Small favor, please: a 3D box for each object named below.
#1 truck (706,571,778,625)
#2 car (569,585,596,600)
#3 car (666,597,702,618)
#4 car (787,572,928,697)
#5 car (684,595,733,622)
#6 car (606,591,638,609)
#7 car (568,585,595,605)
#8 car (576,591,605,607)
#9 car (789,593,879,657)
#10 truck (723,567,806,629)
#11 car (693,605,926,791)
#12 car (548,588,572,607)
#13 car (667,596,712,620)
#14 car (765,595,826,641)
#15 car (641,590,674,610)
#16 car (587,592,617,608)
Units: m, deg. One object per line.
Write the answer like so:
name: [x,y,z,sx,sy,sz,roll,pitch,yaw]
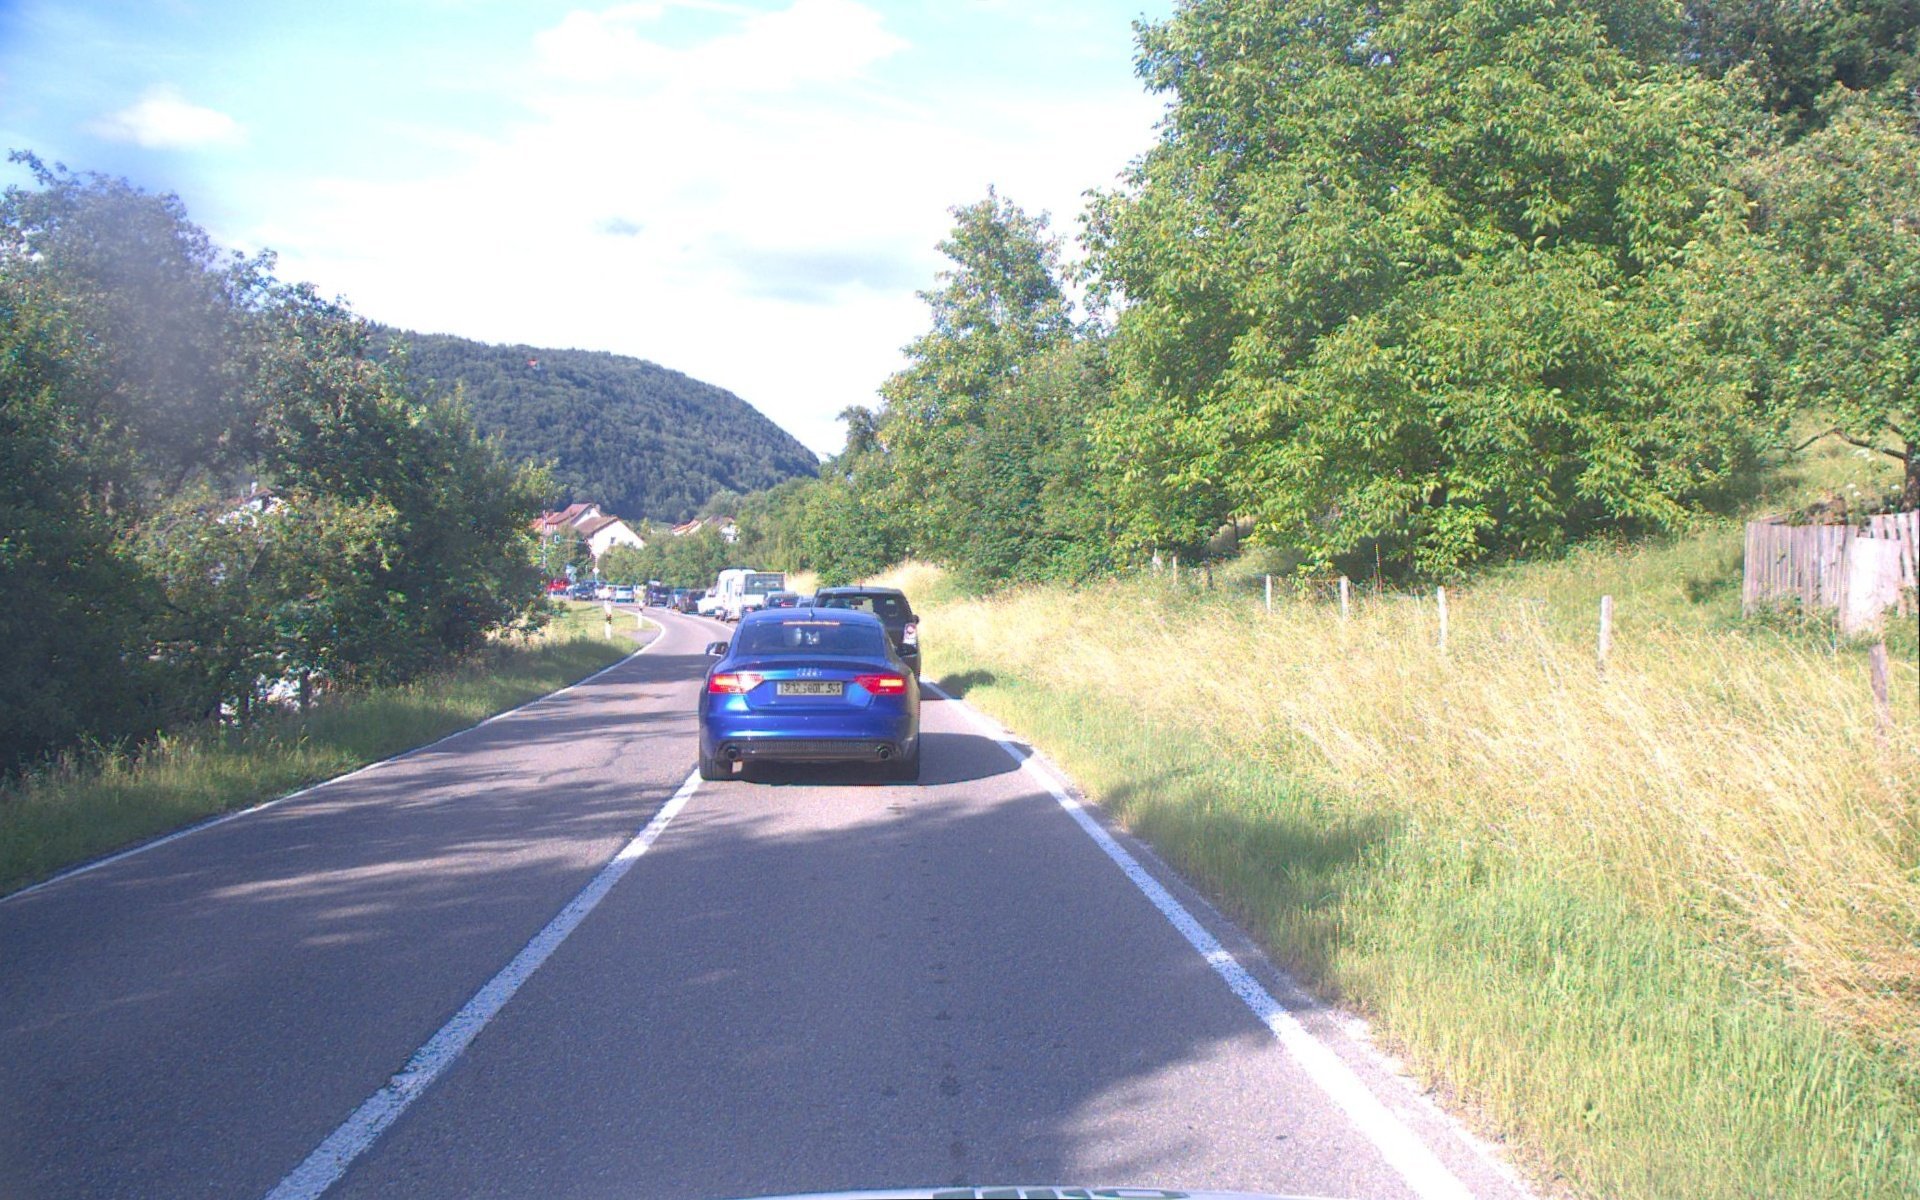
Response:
truck: [-11.910,-0.130,89.660,2.815,2.712,10.609,1,0,-13]
car: [-34.993,-0.671,153.247,1.965,1.400,3.975,1,0,-21]
car: [-20.256,0.566,121.164,1.963,1.508,3.978,1,0,-19]
car: [-1.523,0.503,25.225,1.953,1.732,3.998,1,0,-3]
car: [-14.938,0.495,97.955,1.966,1.508,3.972,1,0,-23]
car: [-30.453,0.008,148.875,1.968,1.508,3.969,1,0,-25]
car: [-39.212,-0.484,171.205,1.967,2.049,3.971,1,0,-24]
car: [-36.367,-0.120,162.780,1.968,1.508,3.969,1,0,-25]
car: [-2.913,0.579,39.011,1.953,1.411,3.998,1,0,-3]
truck: [-9.393,-0.097,78.453,2.815,2.712,10.358,1,0,-13]
car: [-1.186,0.746,14.474,1.757,1.383,3.999,0,0,-2]
car: [-45.070,-0.242,186.237,1.967,2.049,3.971,1,0,-24]
car: [-17.201,0.501,105.006,1.966,1.508,3.972,1,0,-23]
car: [-5.603,0.599,56.041,1.956,1.508,3.993,1,0,-7]
car: [-24.067,-0.019,131.534,1.963,1.508,3.978,1,0,-19]
car: [-33.868,0.008,156.531,1.968,1.508,3.969,1,0,-25]
